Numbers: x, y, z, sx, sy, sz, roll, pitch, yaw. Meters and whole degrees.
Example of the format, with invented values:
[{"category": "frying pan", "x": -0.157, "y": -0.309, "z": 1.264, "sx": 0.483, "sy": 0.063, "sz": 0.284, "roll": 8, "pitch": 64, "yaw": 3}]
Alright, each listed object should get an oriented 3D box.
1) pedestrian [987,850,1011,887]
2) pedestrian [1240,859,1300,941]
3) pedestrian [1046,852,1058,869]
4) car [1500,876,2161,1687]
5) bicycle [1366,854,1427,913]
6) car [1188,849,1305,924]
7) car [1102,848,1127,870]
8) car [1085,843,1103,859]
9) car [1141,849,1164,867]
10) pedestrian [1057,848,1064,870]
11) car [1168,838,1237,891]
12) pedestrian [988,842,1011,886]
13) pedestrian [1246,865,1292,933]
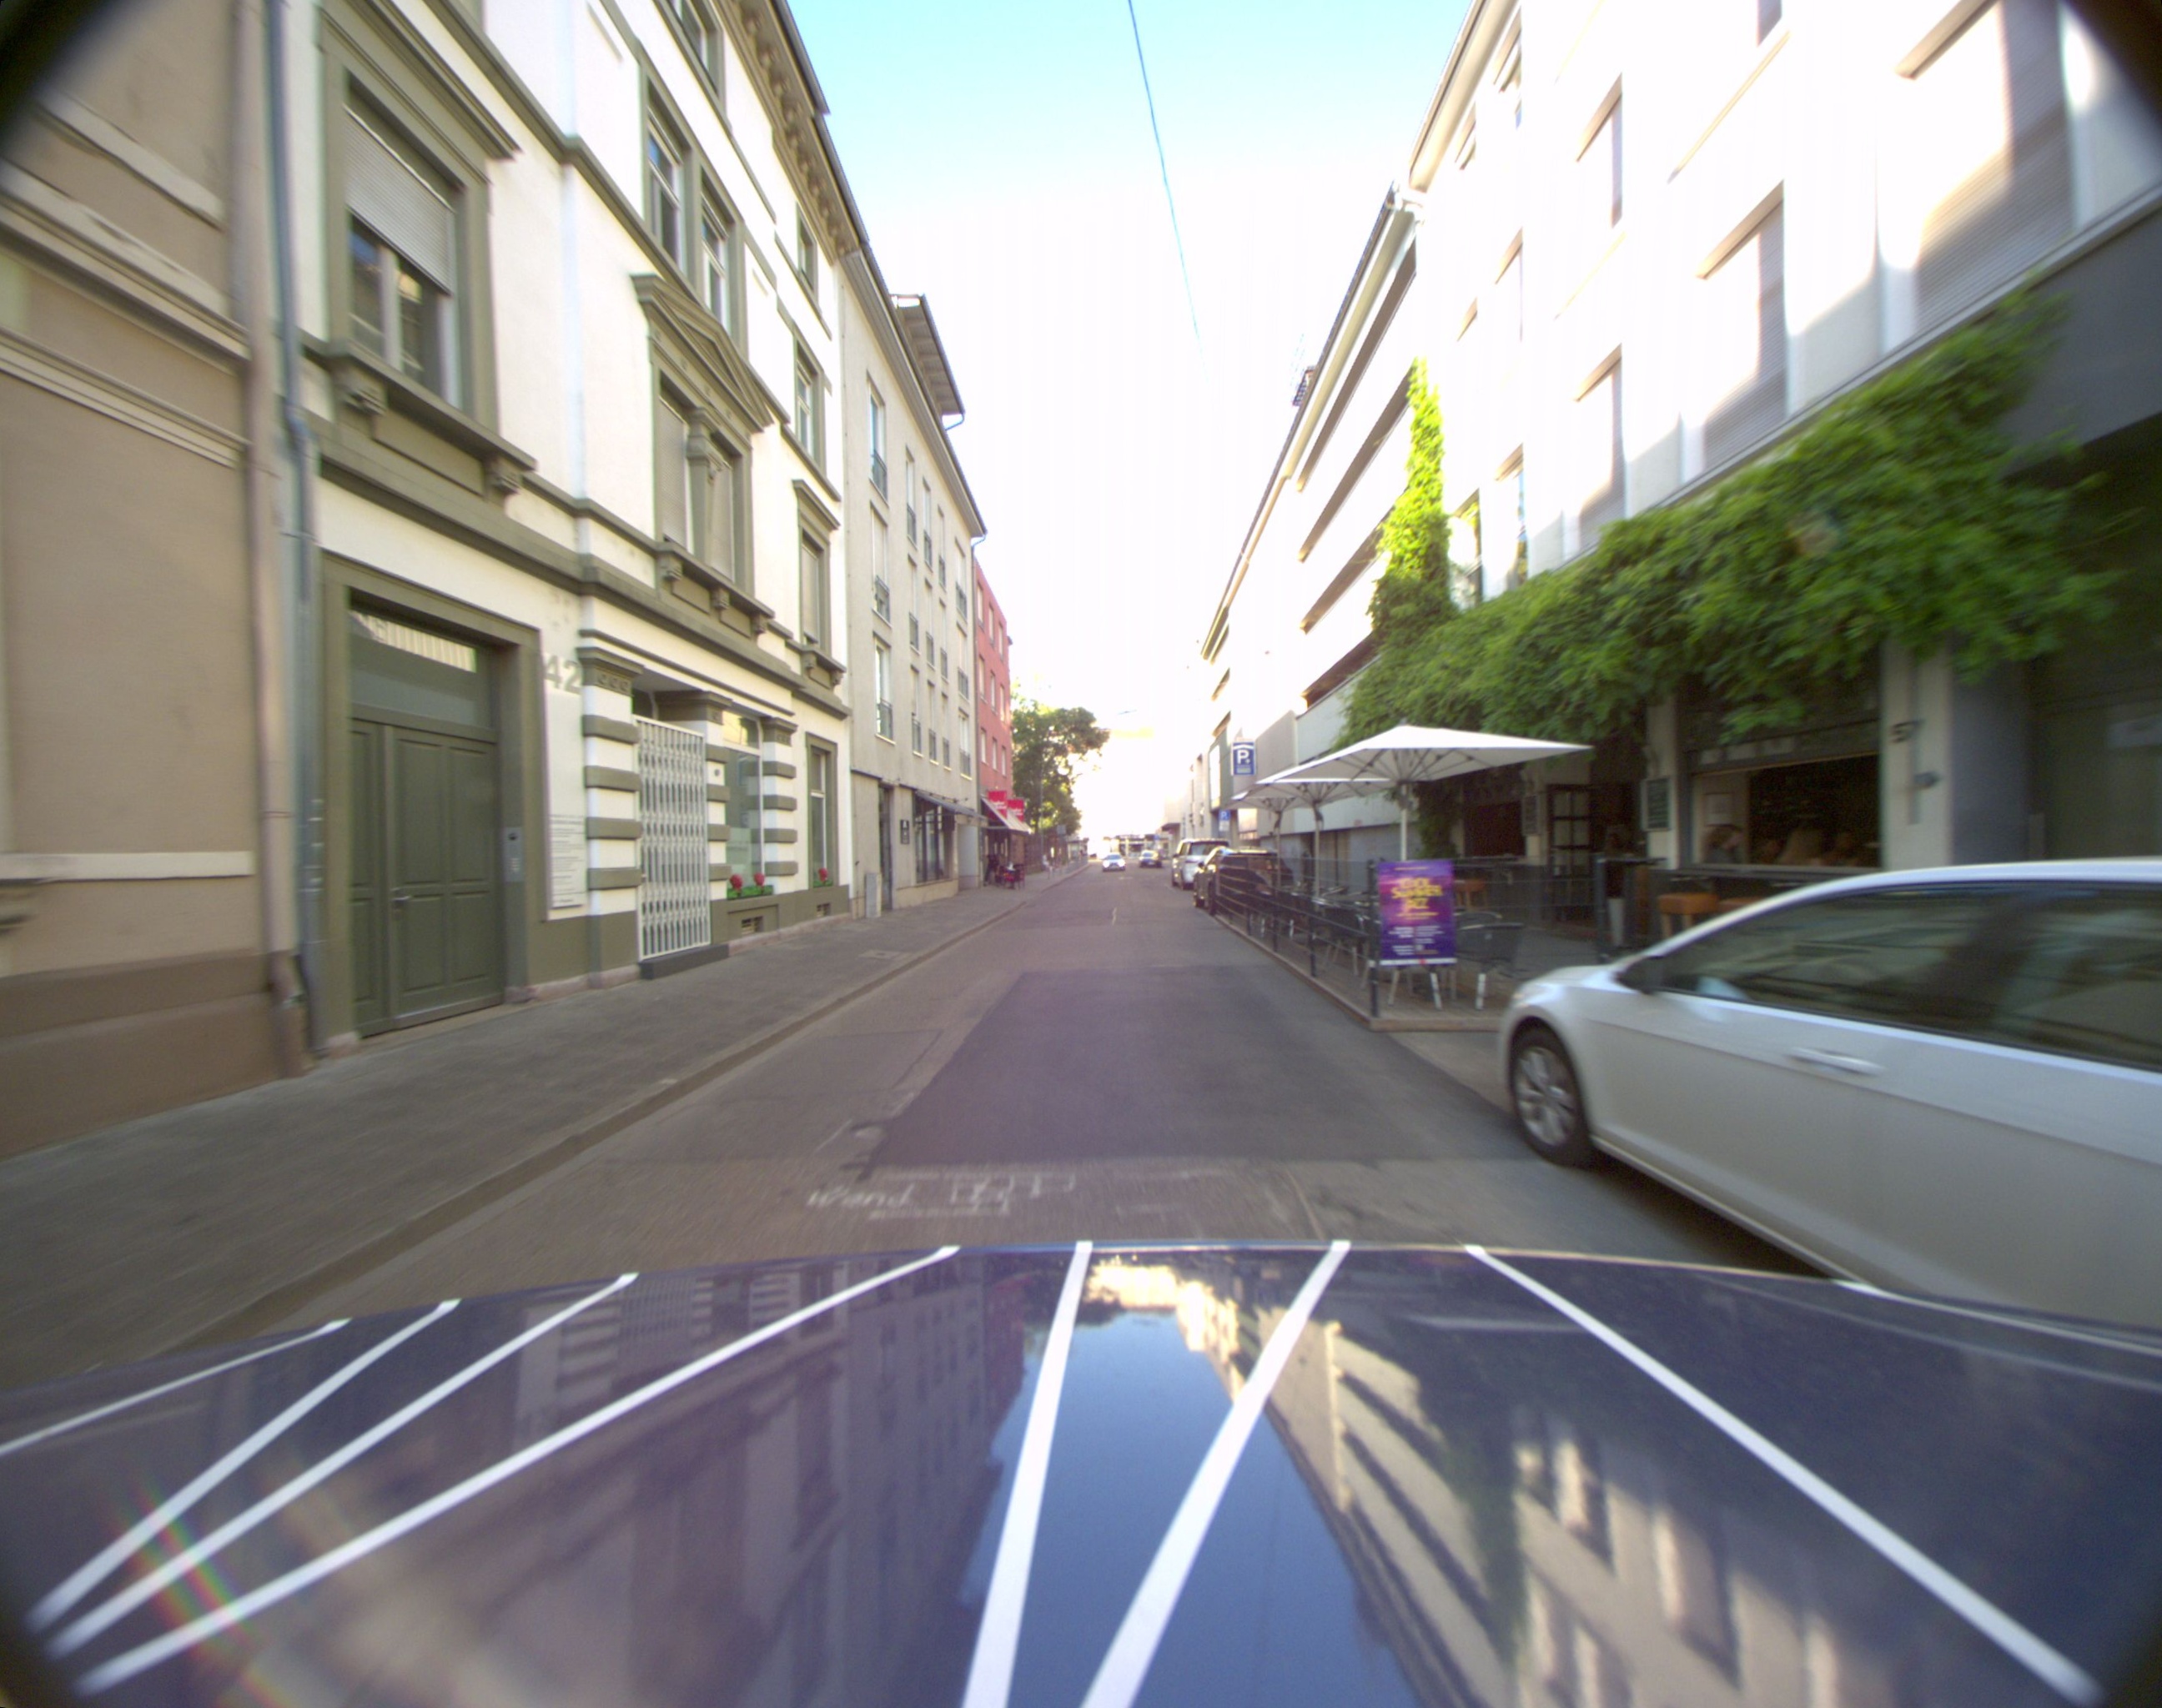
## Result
[{"category": "pedestrian", "x": -3.343, "y": 0.598, "z": 31.077, "sx": 0.827, "sy": 1.477, "sz": 0.661, "roll": -1, "pitch": 1, "yaw": 2}, {"category": "pedestrian", "x": 3.125, "y": 0.749, "z": 12.617, "sx": 0.783, "sy": 1.279, "sz": 0.915, "roll": -1, "pitch": 1, "yaw": 3}, {"category": "pedestrian", "x": -2.198, "y": 0.495, "z": 58.102, "sx": 0.928, "sy": 1.242, "sz": 0.362, "roll": 0, "pitch": 1, "yaw": 0}, {"category": "car", "x": 2.907, "y": 0.869, "z": 1.908, "sx": 1.661, "sy": 1.406, "sz": 3.882, "roll": -2, "pitch": 1, "yaw": 2}, {"category": "bicycle", "x": 6.733, "y": 0.598, "z": 16.307, "sx": 0.644, "sy": 1.153, "sz": 1.794, "roll": -2, "pitch": 1, "yaw": 4}, {"category": "car", "x": 3.868, "y": 0.688, "z": 18.593, "sx": 1.886, "sy": 1.559, "sz": 4.770, "roll": 1, "pitch": 1, "yaw": 1}, {"category": "car", "x": 2.627, "y": 0.364, "z": 59.914, "sx": 1.788, "sy": 1.515, "sz": 4.000, "roll": -4, "pitch": 1, "yaw": 3}, {"category": "car", "x": 1.696, "y": -0.386, "z": 99.320, "sx": 1.999, "sy": 2.002, "sz": 3.998, "roll": -2, "pitch": 1, "yaw": -4}, {"category": "car", "x": 6.408, "y": 0.350, "z": 67.789, "sx": 1.997, "sy": 1.409, "sz": 4.559, "roll": 0, "pitch": 2, "yaw": 6}, {"category": "pedestrian", "x": -1.562, "y": 0.378, "z": 58.159, "sx": 0.437, "sy": 1.637, "sz": 0.558, "roll": 0, "pitch": 1, "yaw": 10}, {"category": "car", "x": 4.702, "y": 0.366, "z": 30.075, "sx": 1.998, "sy": 1.929, "sz": 4.850, "roll": 0, "pitch": 1, "yaw": 1}, {"category": "pedestrian", "x": -3.300, "y": 0.396, "z": 30.826, "sx": 0.661, "sy": 1.782, "sz": 0.728, "roll": 1, "pitch": 1, "yaw": -29}, {"category": "pedestrian", "x": 3.364, "y": 0.790, "z": 13.584, "sx": 0.552, "sy": 1.159, "sz": 0.743, "roll": -1, "pitch": 1, "yaw": 35}]
